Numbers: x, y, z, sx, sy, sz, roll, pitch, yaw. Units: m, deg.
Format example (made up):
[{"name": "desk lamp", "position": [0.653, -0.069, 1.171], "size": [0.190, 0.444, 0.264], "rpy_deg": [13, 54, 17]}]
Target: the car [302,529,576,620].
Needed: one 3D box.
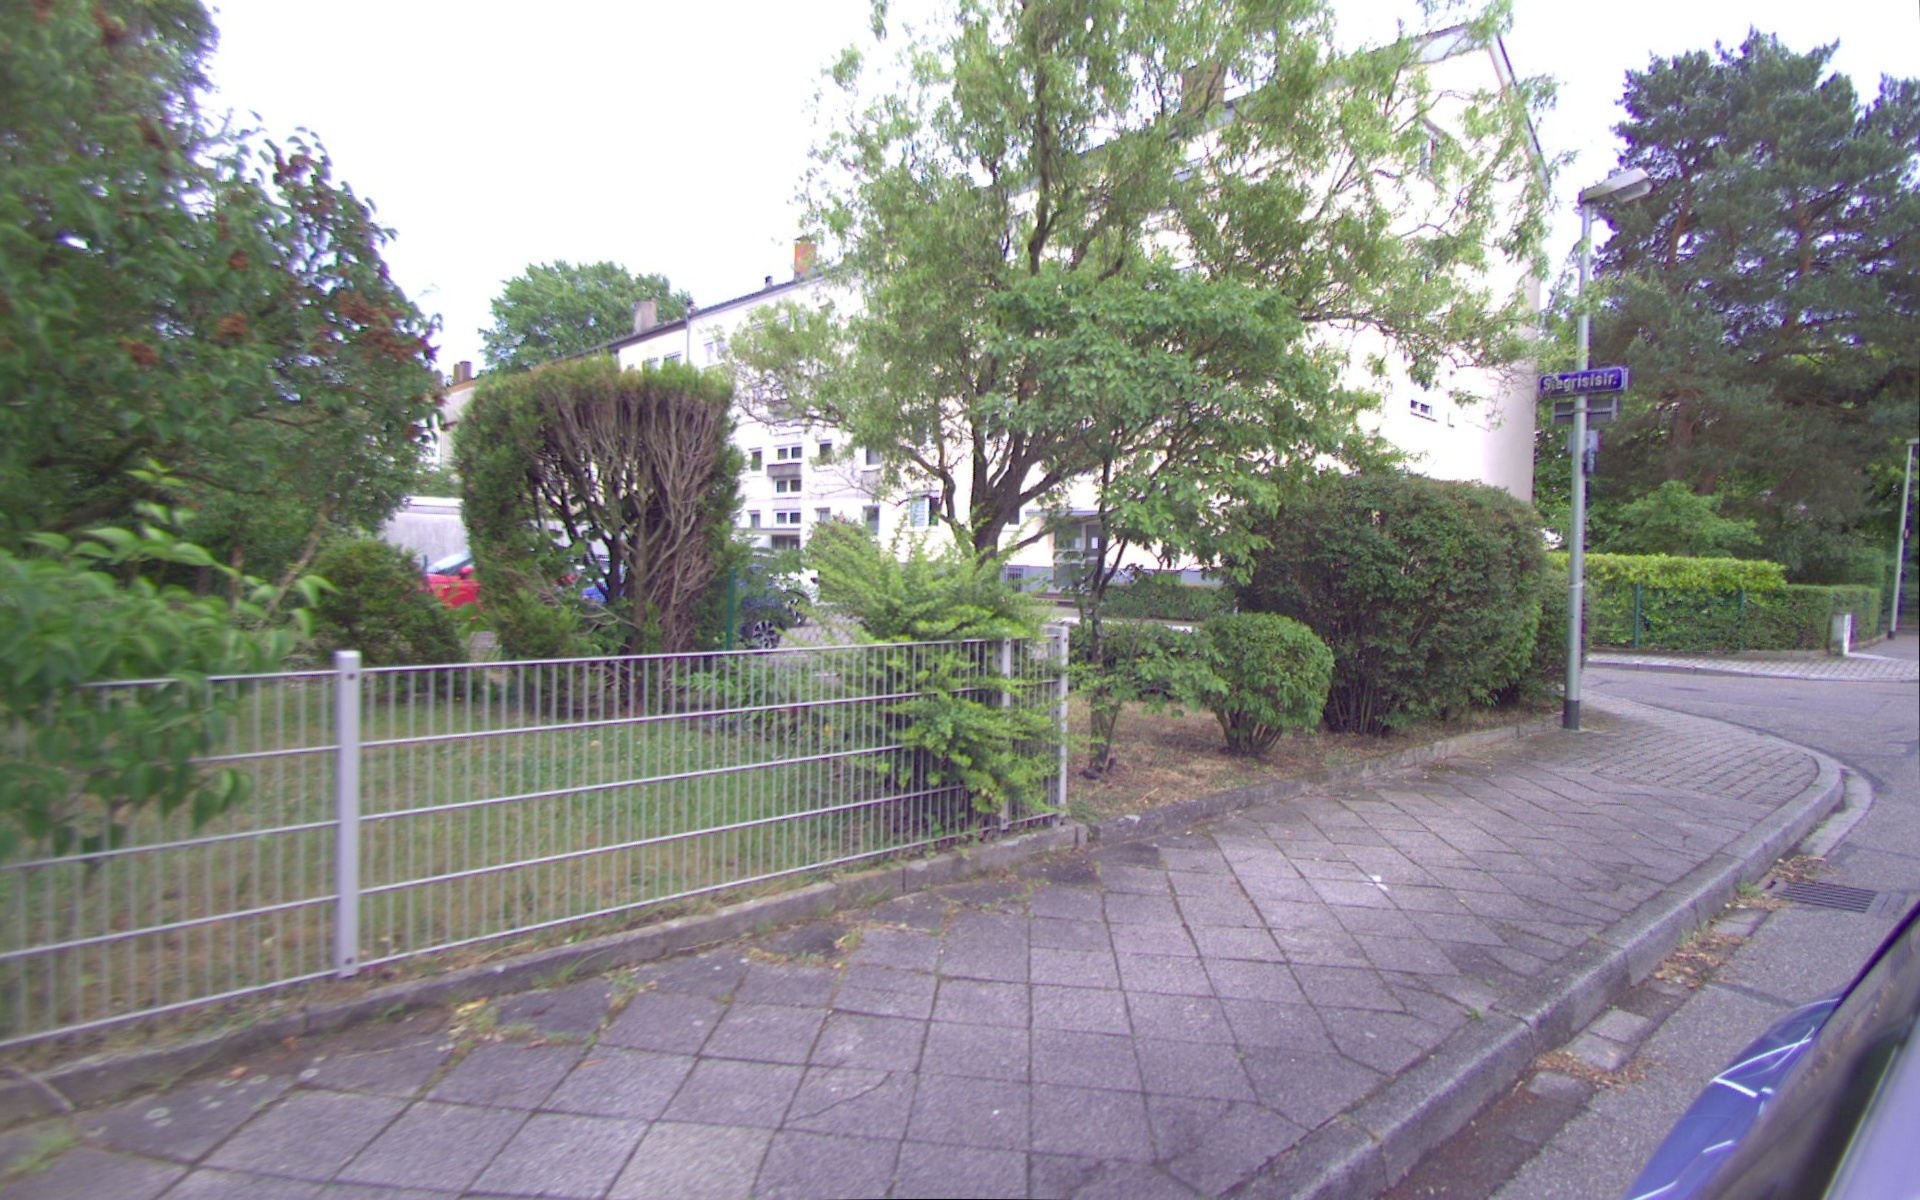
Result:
[{"name": "car", "position": [-8.975, -0.438, 17.590], "size": [3.847, 1.398, 1.967], "rpy_deg": [-1, 2, -45]}]

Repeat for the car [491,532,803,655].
[{"name": "car", "position": [-4.450, -0.130, 14.696], "size": [3.847, 1.529, 2.022], "rpy_deg": [-1, 2, -45]}]

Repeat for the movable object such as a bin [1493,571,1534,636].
[{"name": "movable object such as a bin", "position": [10.462, 0.067, 19.130], "size": [0.514, 1.202, 0.499], "rpy_deg": [3, 1, 44]}]

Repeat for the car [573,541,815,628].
[{"name": "car", "position": [-5.437, -0.341, 21.034], "size": [4.475, 1.608, 1.984], "rpy_deg": [-1, 2, -43]}]
